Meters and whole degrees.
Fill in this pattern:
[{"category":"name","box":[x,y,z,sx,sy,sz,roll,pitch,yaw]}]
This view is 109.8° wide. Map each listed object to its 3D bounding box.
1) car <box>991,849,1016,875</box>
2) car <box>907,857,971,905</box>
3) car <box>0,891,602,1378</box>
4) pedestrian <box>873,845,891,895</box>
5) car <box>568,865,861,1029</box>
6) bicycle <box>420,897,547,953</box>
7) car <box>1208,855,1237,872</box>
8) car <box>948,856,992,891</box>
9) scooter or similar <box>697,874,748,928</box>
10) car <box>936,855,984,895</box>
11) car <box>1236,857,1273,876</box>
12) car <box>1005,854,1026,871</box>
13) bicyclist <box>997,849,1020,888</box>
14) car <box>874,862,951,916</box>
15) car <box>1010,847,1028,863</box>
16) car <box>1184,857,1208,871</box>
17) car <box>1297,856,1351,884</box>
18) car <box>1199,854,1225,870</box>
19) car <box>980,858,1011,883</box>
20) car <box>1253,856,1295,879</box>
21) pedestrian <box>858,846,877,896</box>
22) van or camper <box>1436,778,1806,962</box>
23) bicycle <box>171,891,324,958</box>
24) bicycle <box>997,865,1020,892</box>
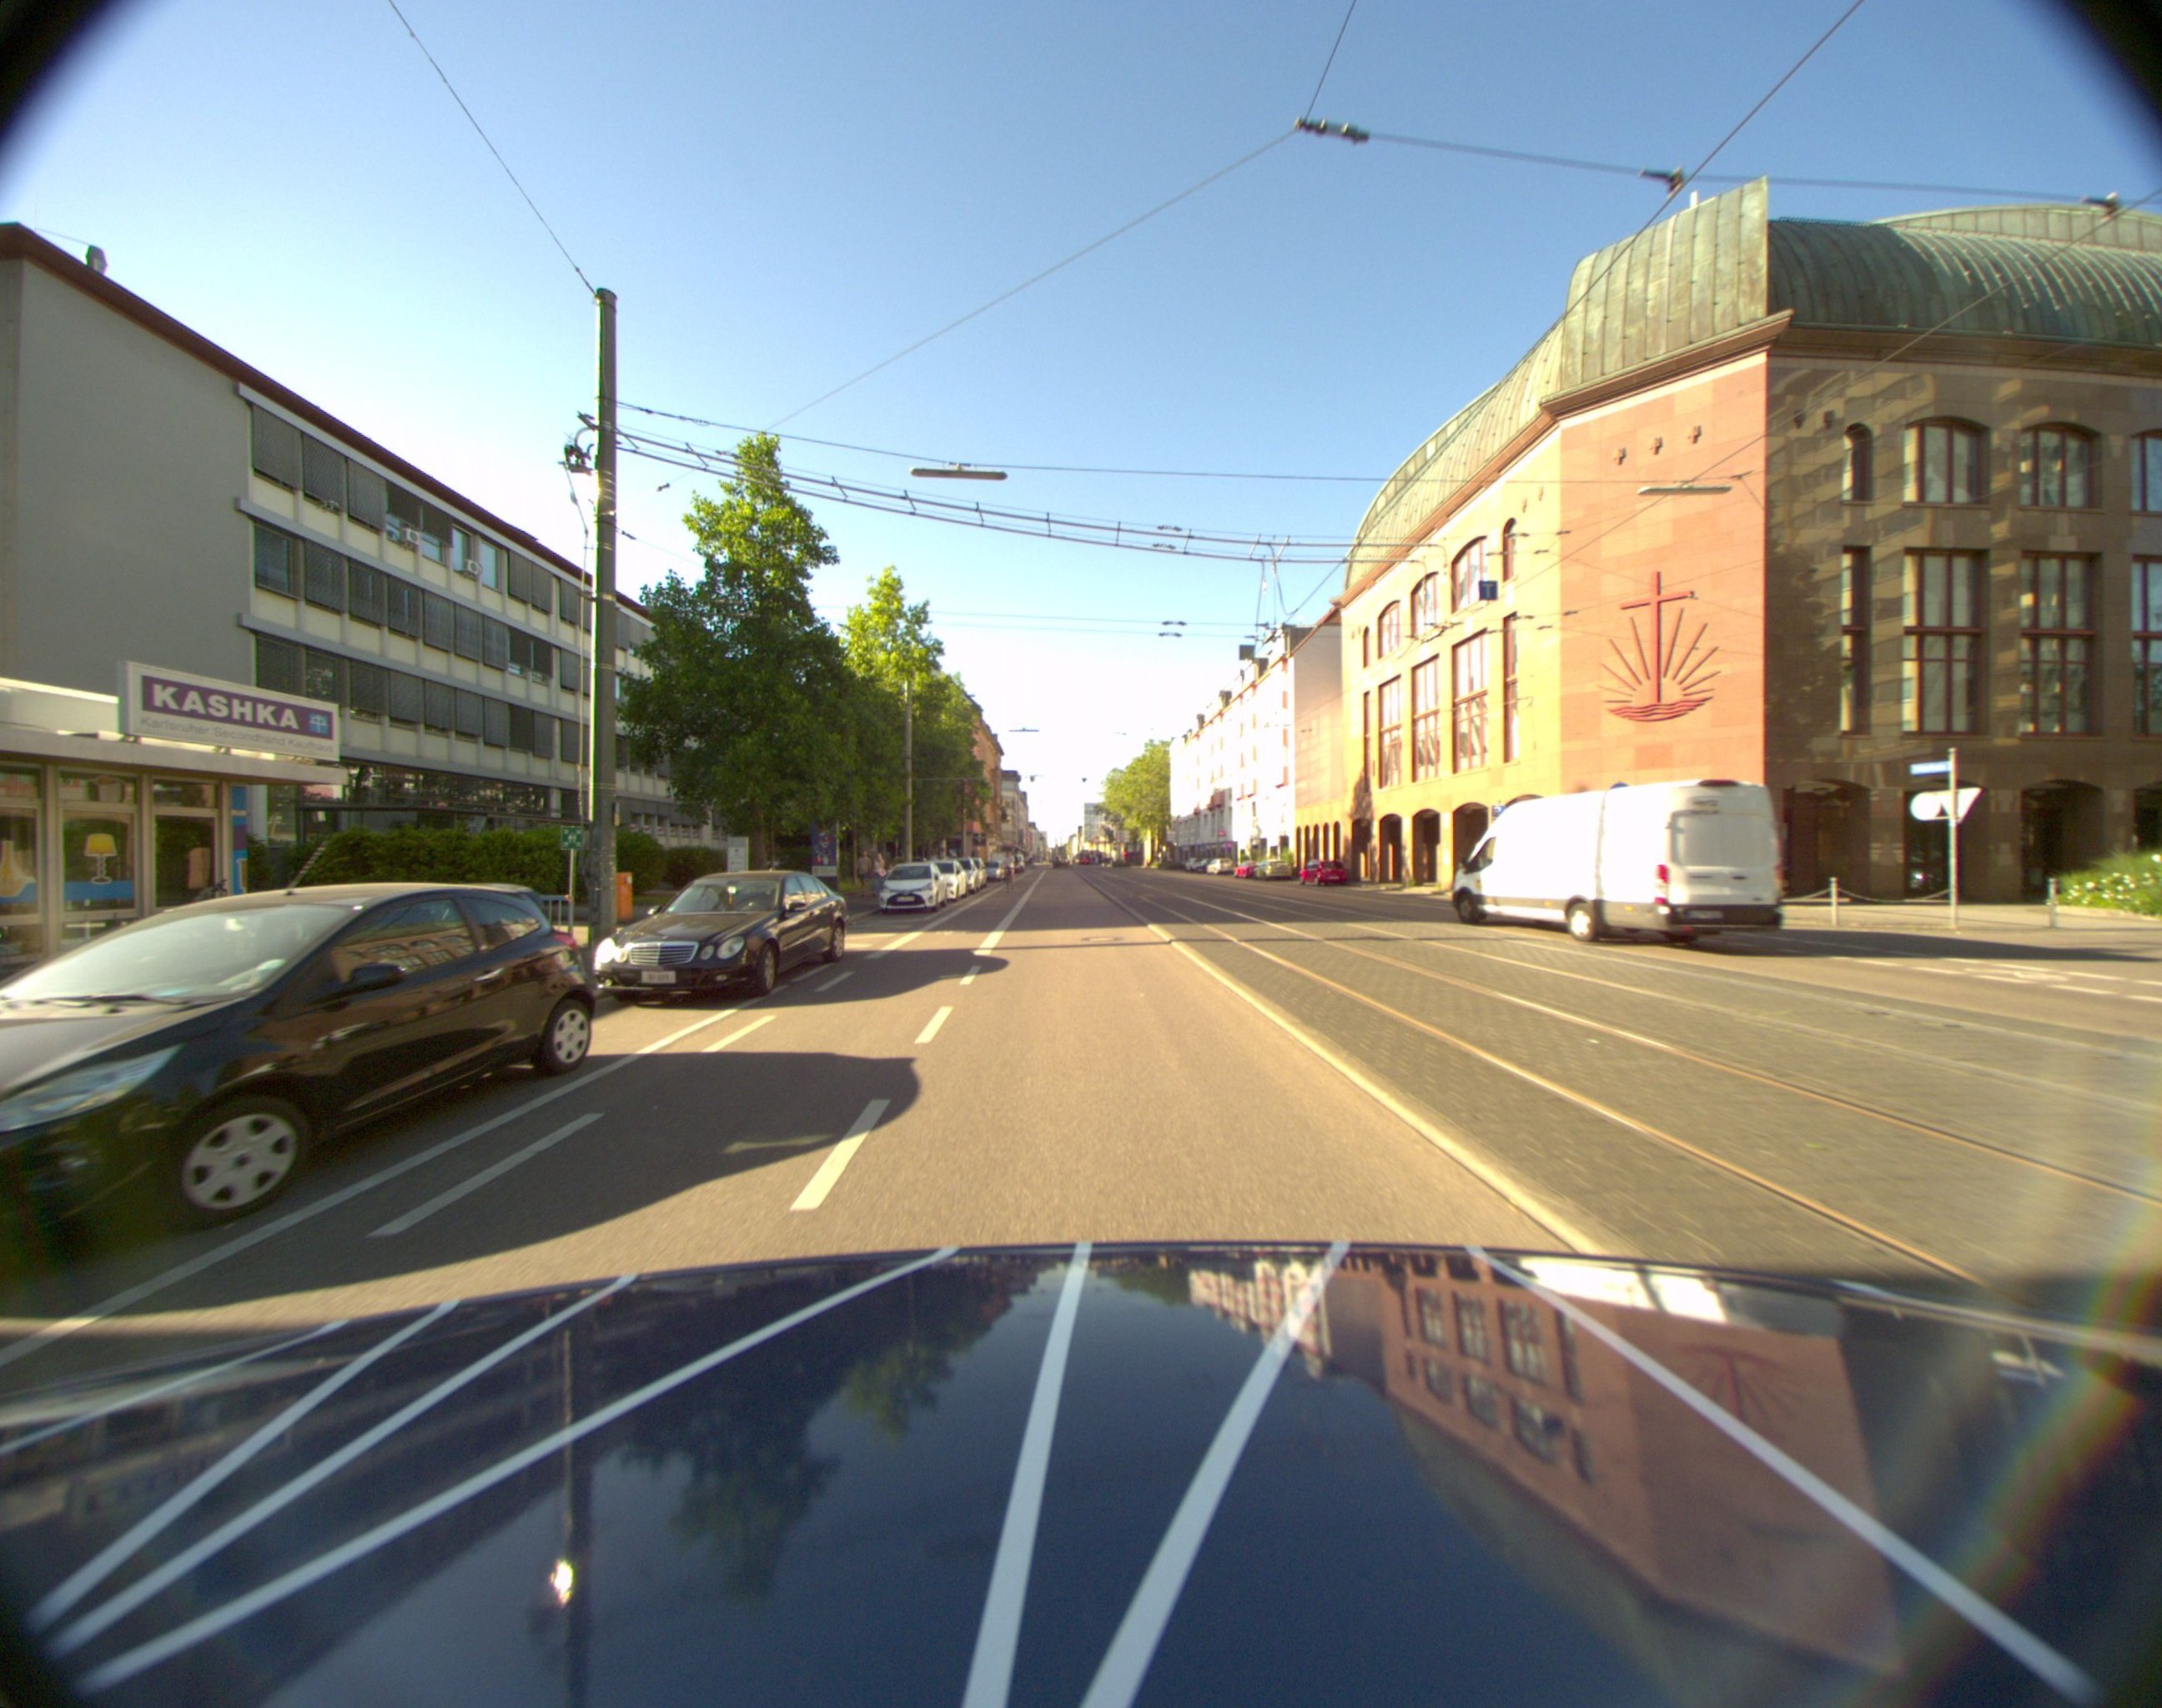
[{"category":"car","box":[-6.639,0.633,65.426,1.733,2.038,4.114,-2,2,-2]},{"category":"car","box":[-5.344,0.968,29.119,1.733,1.568,4.114,-2,1,-2]},{"category":"car","box":[-4.593,1.080,4.261,1.575,1.474,3.556,-2,1,-2]},{"category":"pedestrian","box":[-8.017,0.639,30.630,0.508,2.002,0.574,-2,2,-1]},{"category":"car","box":[-4.586,1.023,10.512,1.733,1.475,4.926,-2,2,-2]},{"category":"bicycle","box":[-10.391,1.236,13.247,1.814,0.917,0.406,1,1,-4]},{"category":"car","box":[12.838,0.827,69.156,1.856,1.445,3.852,-1,0,-1]},{"category":"car","box":[-5.719,0.958,39.616,1.733,1.542,4.114,-2,2,-2]},{"category":"scooter or similar","box":[-8.783,1.135,18.677,0.582,1.202,1.313,3,1,0]},{"category":"car","box":[-5.471,0.898,34.761,1.734,1.586,4.113,-2,1,-4]},{"category":"car","box":[13.154,0.907,57.791,1.856,1.346,3.852,-1,0,-1]},{"category":"car","box":[-6.473,0.817,75.263,1.733,1.475,4.251,-2,2,-2]},{"category":"bicyclist","box":[-3.355,0.648,35.142,0.895,1.755,1.029,-2,2,-1]},{"category":"car","box":[-5.242,1.039,24.062,1.733,1.474,3.863,-2,0,-3]},{"category":"car","box":[-6.642,0.086,81.713,1.733,1.475,4.114,-2,2,-2]},{"category":"car","box":[12.342,1.073,81.473,1.856,1.445,3.852,-1,0,-1]},{"category":"car","box":[13.766,0.888,43.214,1.753,1.445,3.470,-1,0,-3]},{"category":"car","box":[12.723,0.775,73.989,1.856,1.445,3.852,-1,0,-1]},{"category":"car","box":[-5.759,1.079,51.487,1.733,1.475,4.114,-2,2,-2]},{"category":"car","box":[13.368,0.919,52.866,1.856,1.445,3.852,-1,0,-1]},{"category":"pedestrian","box":[-8.642,0.669,30.739,0.508,2.002,0.574,-2,2,-1]},{"category":"van or camper","box":[9.708,0.241,14.847,2.042,2.723,7.019,1,0,-2]},{"category":"bicycle","box":[-13.427,1.123,12.266,1.807,0.960,0.572,2,2,-1]},{"category":"bicycle","box":[-3.335,1.117,35.230,0.889,1.155,2.078,-2,1,-1]}]
